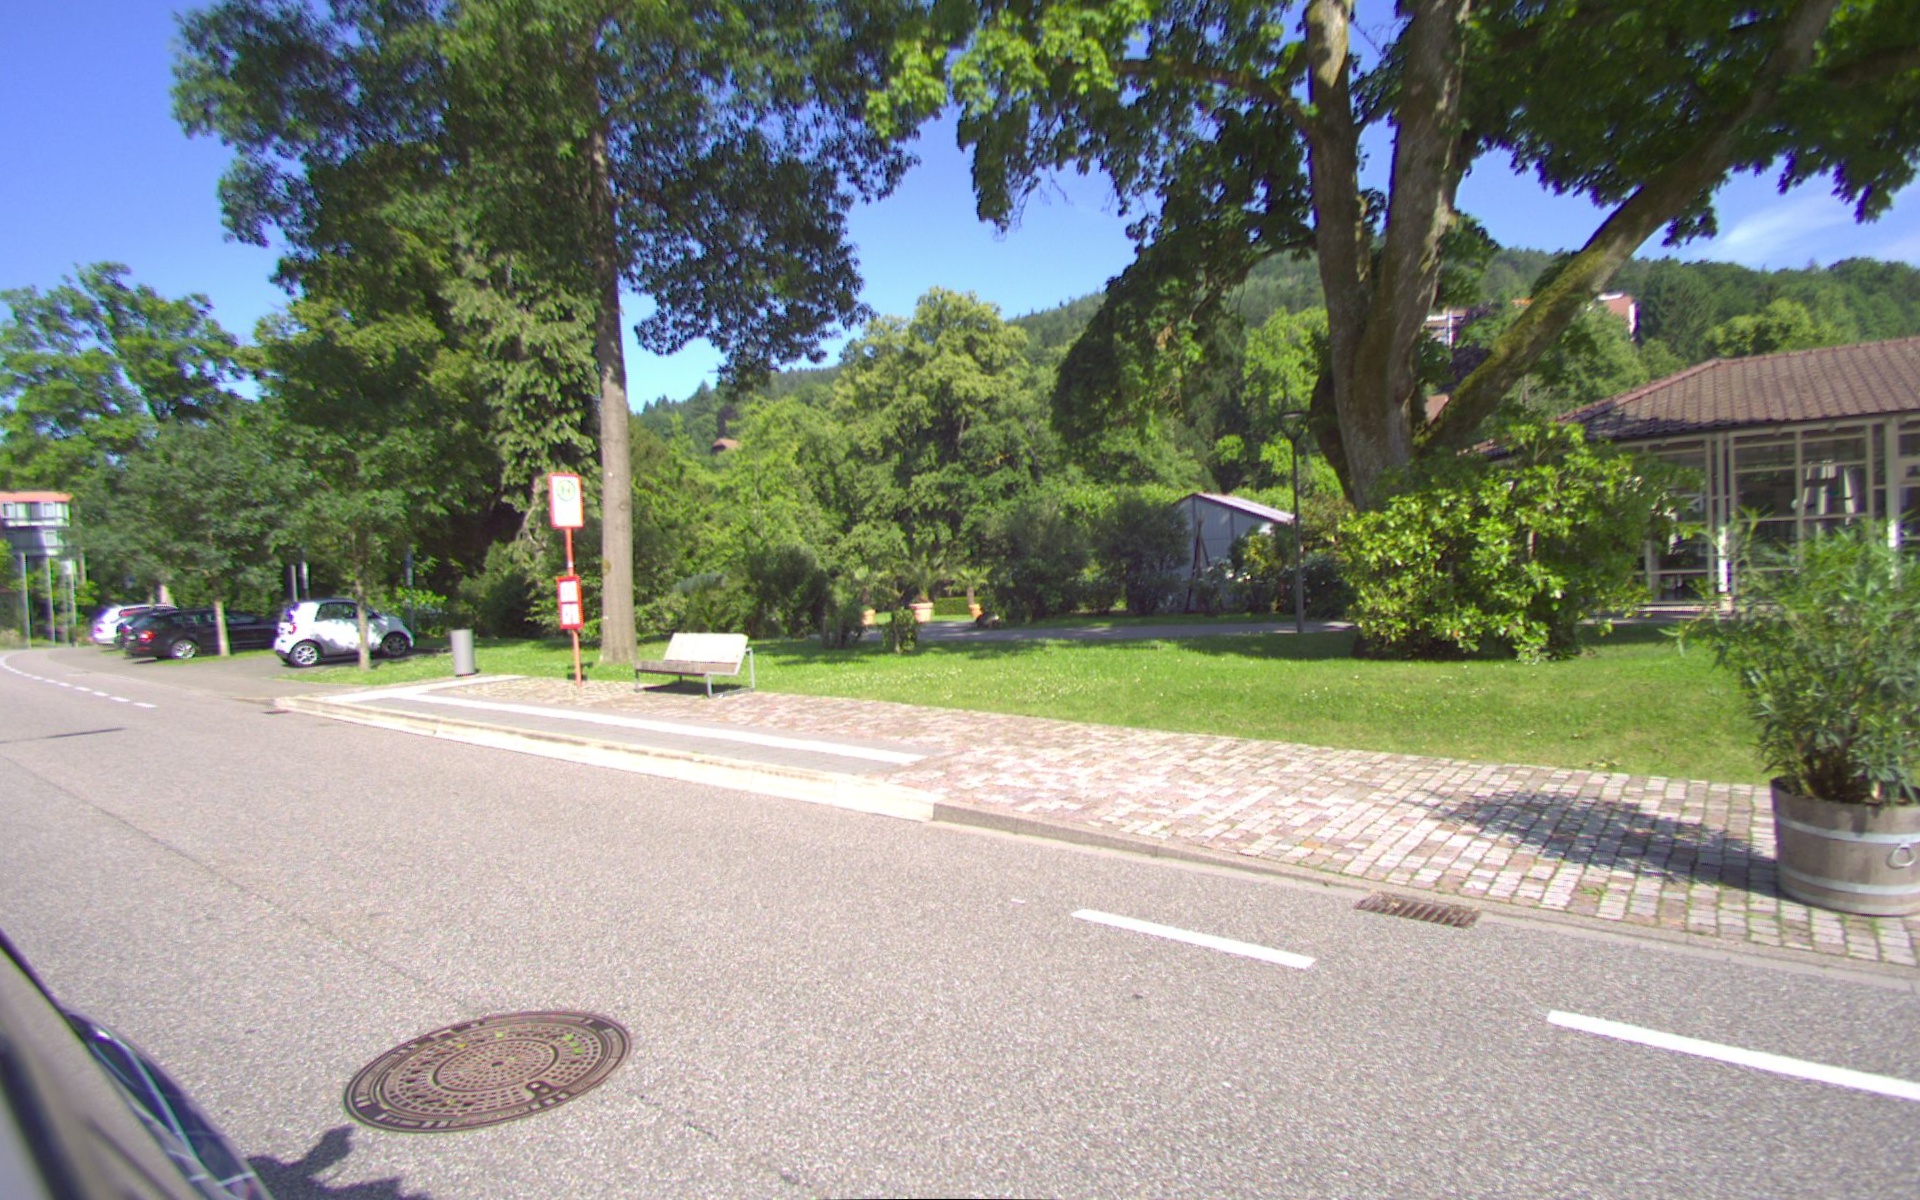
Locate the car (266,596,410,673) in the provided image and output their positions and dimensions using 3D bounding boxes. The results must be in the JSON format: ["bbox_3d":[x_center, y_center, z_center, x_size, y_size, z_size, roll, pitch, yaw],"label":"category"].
[{"bbox_3d":[-15.074,0.789,24.567,2.620,1.558,1.684,-6,4,-43],"label":"car"}]

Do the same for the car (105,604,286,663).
[{"bbox_3d":[-25.144,1.059,33.437,1.712,1.521,4.449,-2,3,40],"label":"car"}]

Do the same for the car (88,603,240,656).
[{"bbox_3d":[-30.653,1.084,39.137,4.427,1.427,1.814,-8,6,-37],"label":"car"}]

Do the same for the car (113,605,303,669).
[{"bbox_3d":[-22.702,1.067,30.698,1.709,1.442,4.240,-2,3,35],"label":"car"}]

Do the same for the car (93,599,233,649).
[{"bbox_3d":[-34.152,0.996,43.455,1.810,1.675,4.434,0,5,44],"label":"car"}]

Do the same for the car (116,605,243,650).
[{"bbox_3d":[-32.234,1.088,41.840,3.940,1.443,1.722,-6,4,-42],"label":"car"}]

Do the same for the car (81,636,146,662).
[{"bbox_3d":[-61.690,3.540,73.836,1.630,1.481,4.007,-4,2,-7],"label":"car"}]
